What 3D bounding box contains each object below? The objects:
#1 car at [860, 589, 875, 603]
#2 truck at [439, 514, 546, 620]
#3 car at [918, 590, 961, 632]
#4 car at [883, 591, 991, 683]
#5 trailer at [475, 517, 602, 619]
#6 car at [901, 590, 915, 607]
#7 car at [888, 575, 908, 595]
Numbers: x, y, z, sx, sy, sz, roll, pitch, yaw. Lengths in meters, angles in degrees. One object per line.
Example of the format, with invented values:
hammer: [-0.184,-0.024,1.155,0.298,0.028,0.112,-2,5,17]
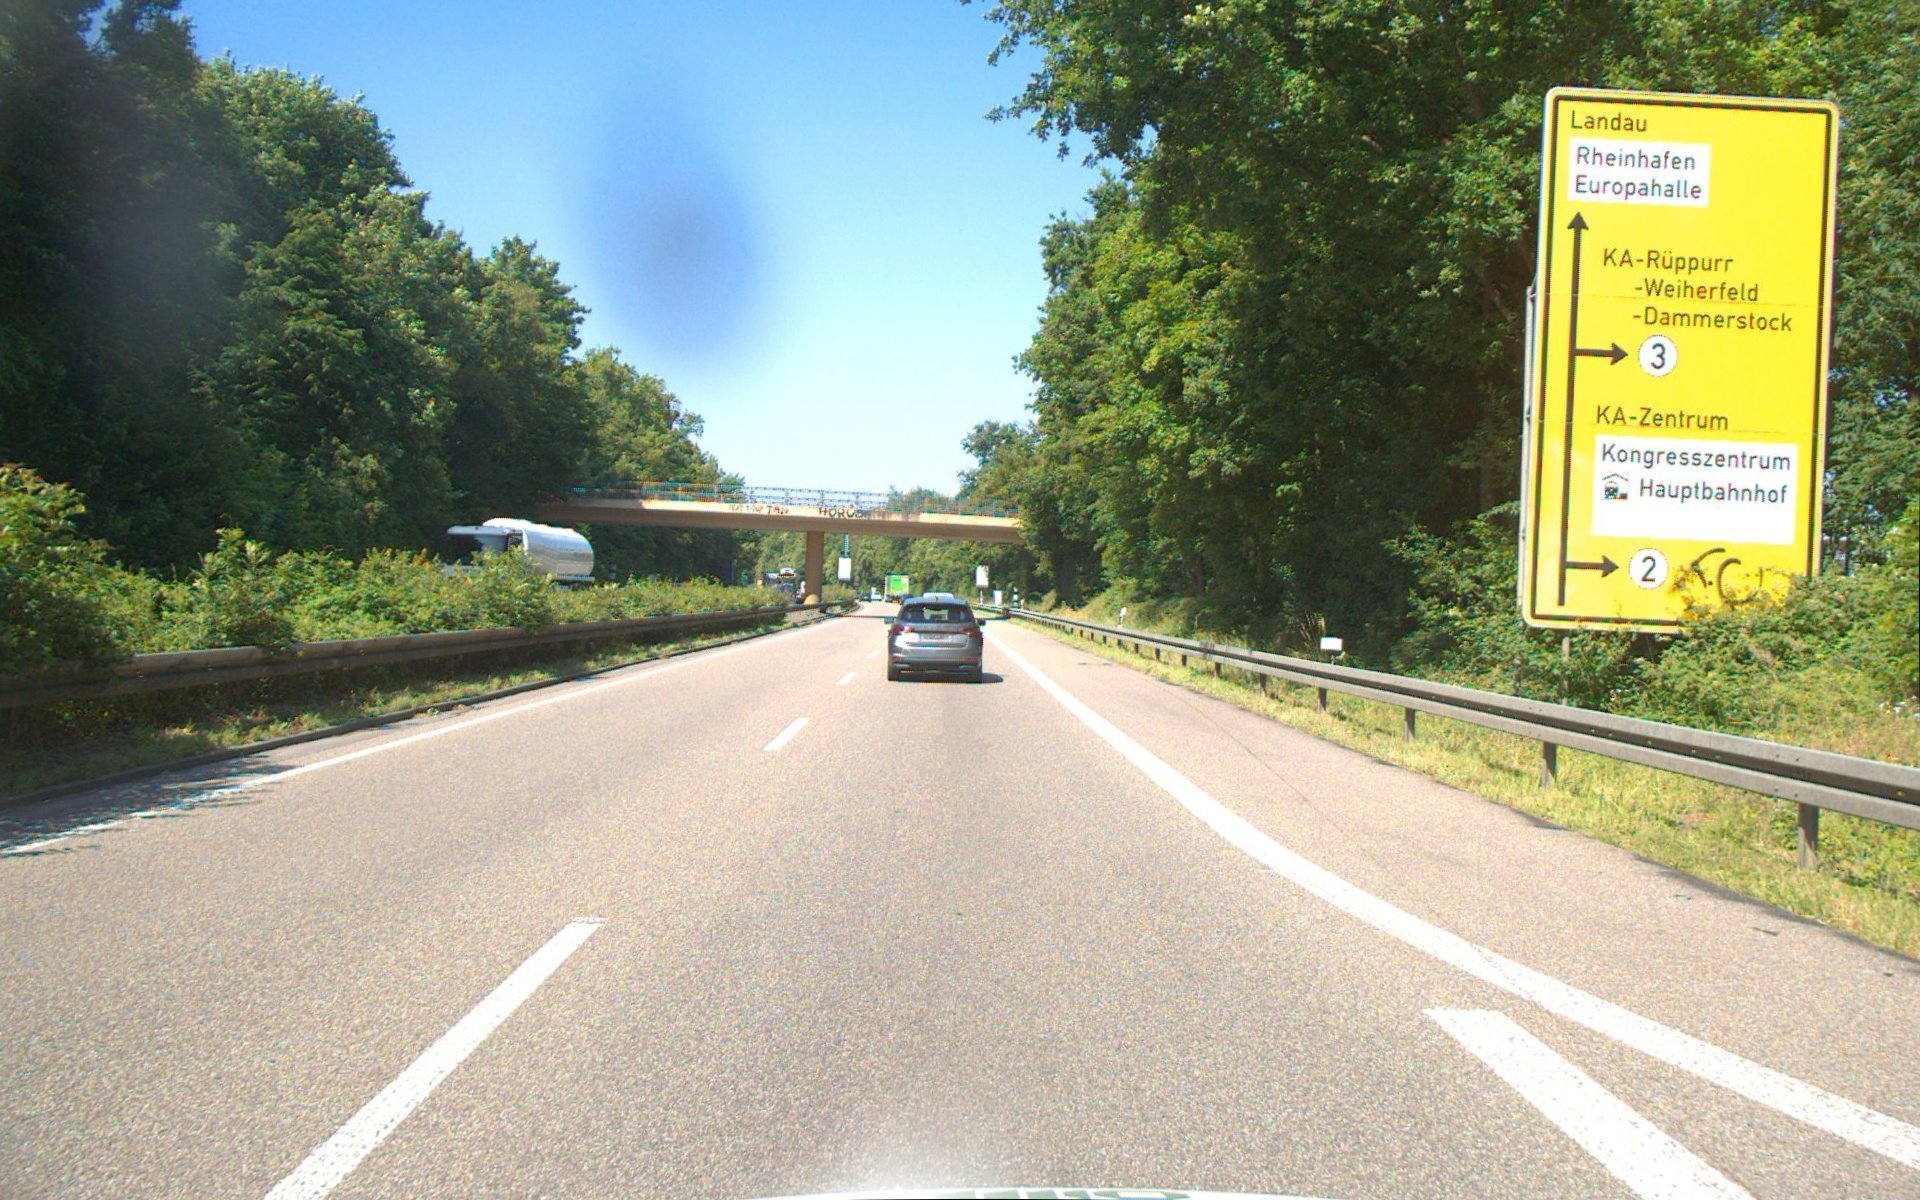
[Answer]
car: [-13.577,-0.568,243.607,1.953,2.049,3.999,1,0,-1]
truck: [-15.800,-1.064,56.178,2.291,3.400,4.541,1,0,-1]
car: [-0.766,0.389,62.247,1.491,1.472,3.340,1,1,1]
car: [-0.360,0.620,29.743,1.802,1.497,3.624,1,1,1]
trailer: [-15.841,-1.125,62.957,1.953,3.461,11.417,1,0,-1]
car: [-6.538,-0.169,208.408,1.727,2.049,3.587,1,0,-1]
car: [-8.956,-2.163,237.620,2.693,2.700,3.999,1,0,-1]
